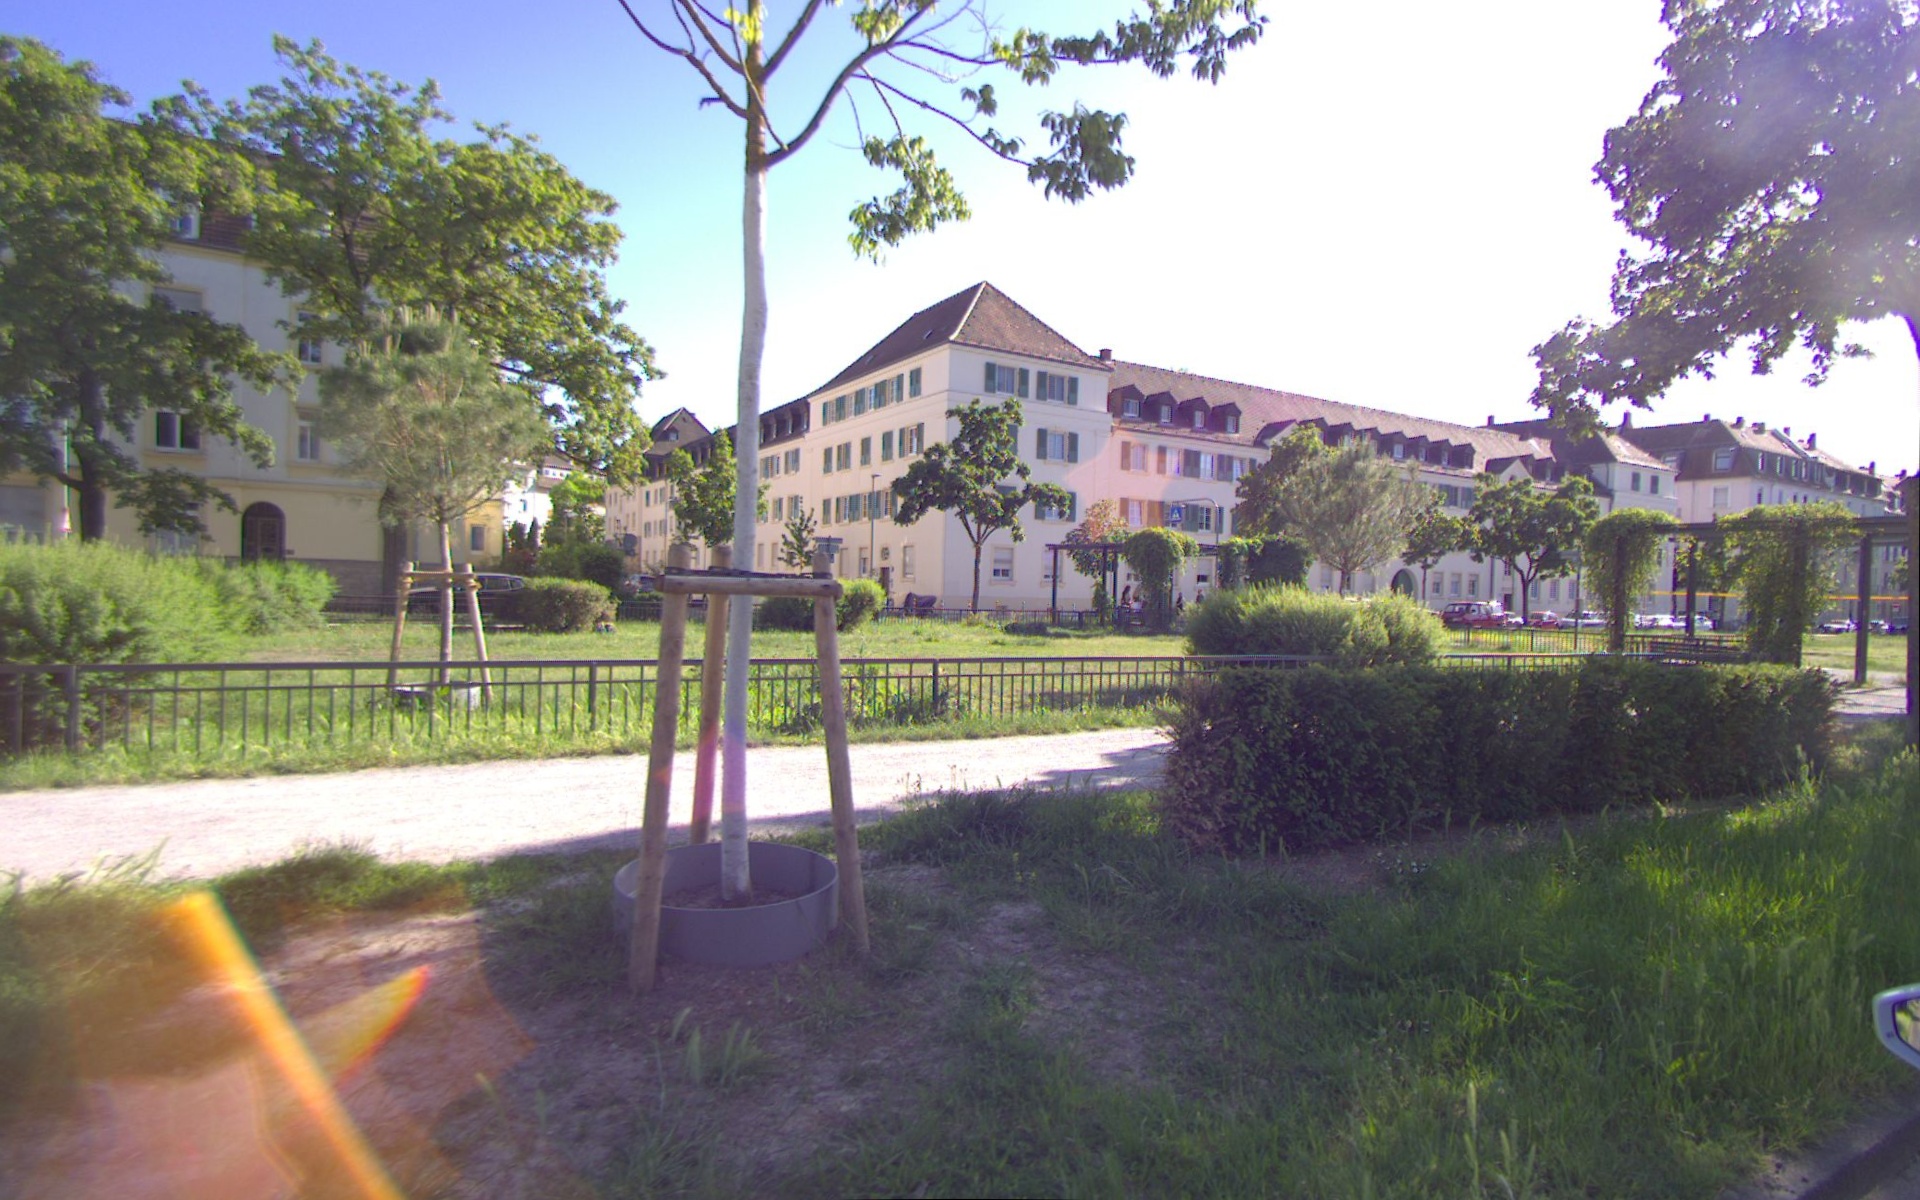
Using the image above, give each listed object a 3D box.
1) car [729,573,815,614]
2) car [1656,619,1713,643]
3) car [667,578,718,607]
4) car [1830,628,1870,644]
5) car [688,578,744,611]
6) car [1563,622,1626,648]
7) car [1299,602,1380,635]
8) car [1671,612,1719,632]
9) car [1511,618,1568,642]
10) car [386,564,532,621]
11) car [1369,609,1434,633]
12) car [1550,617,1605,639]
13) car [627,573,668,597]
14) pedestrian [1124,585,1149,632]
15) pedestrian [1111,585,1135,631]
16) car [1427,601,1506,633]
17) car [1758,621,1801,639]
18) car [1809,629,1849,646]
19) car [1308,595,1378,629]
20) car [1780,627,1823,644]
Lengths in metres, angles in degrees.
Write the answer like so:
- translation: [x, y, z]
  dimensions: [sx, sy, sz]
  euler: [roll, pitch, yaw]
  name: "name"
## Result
- translation: [-8.457, -0.300, 45.014]
  dimensions: [3.945, 1.674, 1.789]
  euler: [3, 1, 44]
  name: "car"
- translation: [51.263, 2.183, 71.080]
  dimensions: [3.953, 1.530, 1.785]
  euler: [2, 1, -30]
  name: "car"
- translation: [-15.290, -0.456, 57.252]
  dimensions: [1.779, 1.530, 3.967]
  euler: [1, 1, -30]
  name: "car"
- translation: [89.195, 3.596, 100.677]
  dimensions: [3.953, 1.530, 1.785]
  euler: [2, 1, -30]
  name: "car"
- translation: [-12.836, -0.323, 52.679]
  dimensions: [1.780, 1.587, 3.966]
  euler: [1, 1, -31]
  name: "car"
- translation: [41.181, 2.264, 65.192]
  dimensions: [3.953, 1.530, 1.785]
  euler: [2, 1, -30]
  name: "car"
- translation: [19.502, 0.953, 51.636]
  dimensions: [3.953, 1.530, 1.785]
  euler: [2, 1, -30]
  name: "car"
- translation: [61.781, 1.875, 84.430]
  dimensions: [3.953, 1.530, 1.785]
  euler: [2, 1, -30]
  name: "car"
- translation: [41.138, 2.124, 71.302]
  dimensions: [3.953, 1.530, 1.785]
  euler: [2, 1, -30]
  name: "car"
- translation: [-17.426, -0.246, 35.010]
  dimensions: [4.408, 1.840, 1.784]
  euler: [1, 1, -32]
  name: "car"
- translation: [27.876, 1.346, 63.389]
  dimensions: [3.953, 1.403, 1.785]
  euler: [2, 1, -30]
  name: "car"
- translation: [45.608, 2.074, 74.131]
  dimensions: [3.953, 1.530, 1.785]
  euler: [2, 1, -30]
  name: "car"
- translation: [-20.707, -1.003, 66.481]
  dimensions: [1.779, 1.530, 3.967]
  euler: [1, 1, -30]
  name: "car"
- translation: [6.653, 0.318, 37.886]
  dimensions: [0.642, 1.721, 0.645]
  euler: [1, 0, -30]
  name: "pedestrian"
- translation: [6.266, 0.304, 38.598]
  dimensions: [0.642, 1.721, 0.645]
  euler: [1, 0, -30]
  name: "pedestrian"
- translation: [29.104, 0.991, 57.657]
  dimensions: [4.647, 1.733, 1.785]
  euler: [2, 1, -30]
  name: "car"
- translation: [75.852, 2.802, 93.013]
  dimensions: [3.953, 1.530, 1.785]
  euler: [2, 1, -30]
  name: "car"
- translation: [84.962, 3.648, 98.183]
  dimensions: [3.954, 1.530, 1.785]
  euler: [2, 1, -31]
  name: "car"
- translation: [22.941, 0.723, 60.141]
  dimensions: [3.953, 1.935, 1.785]
  euler: [2, 1, -30]
  name: "car"
- translation: [80.067, 3.384, 95.584]
  dimensions: [4.095, 1.530, 1.785]
  euler: [2, 1, -30]
  name: "car"
